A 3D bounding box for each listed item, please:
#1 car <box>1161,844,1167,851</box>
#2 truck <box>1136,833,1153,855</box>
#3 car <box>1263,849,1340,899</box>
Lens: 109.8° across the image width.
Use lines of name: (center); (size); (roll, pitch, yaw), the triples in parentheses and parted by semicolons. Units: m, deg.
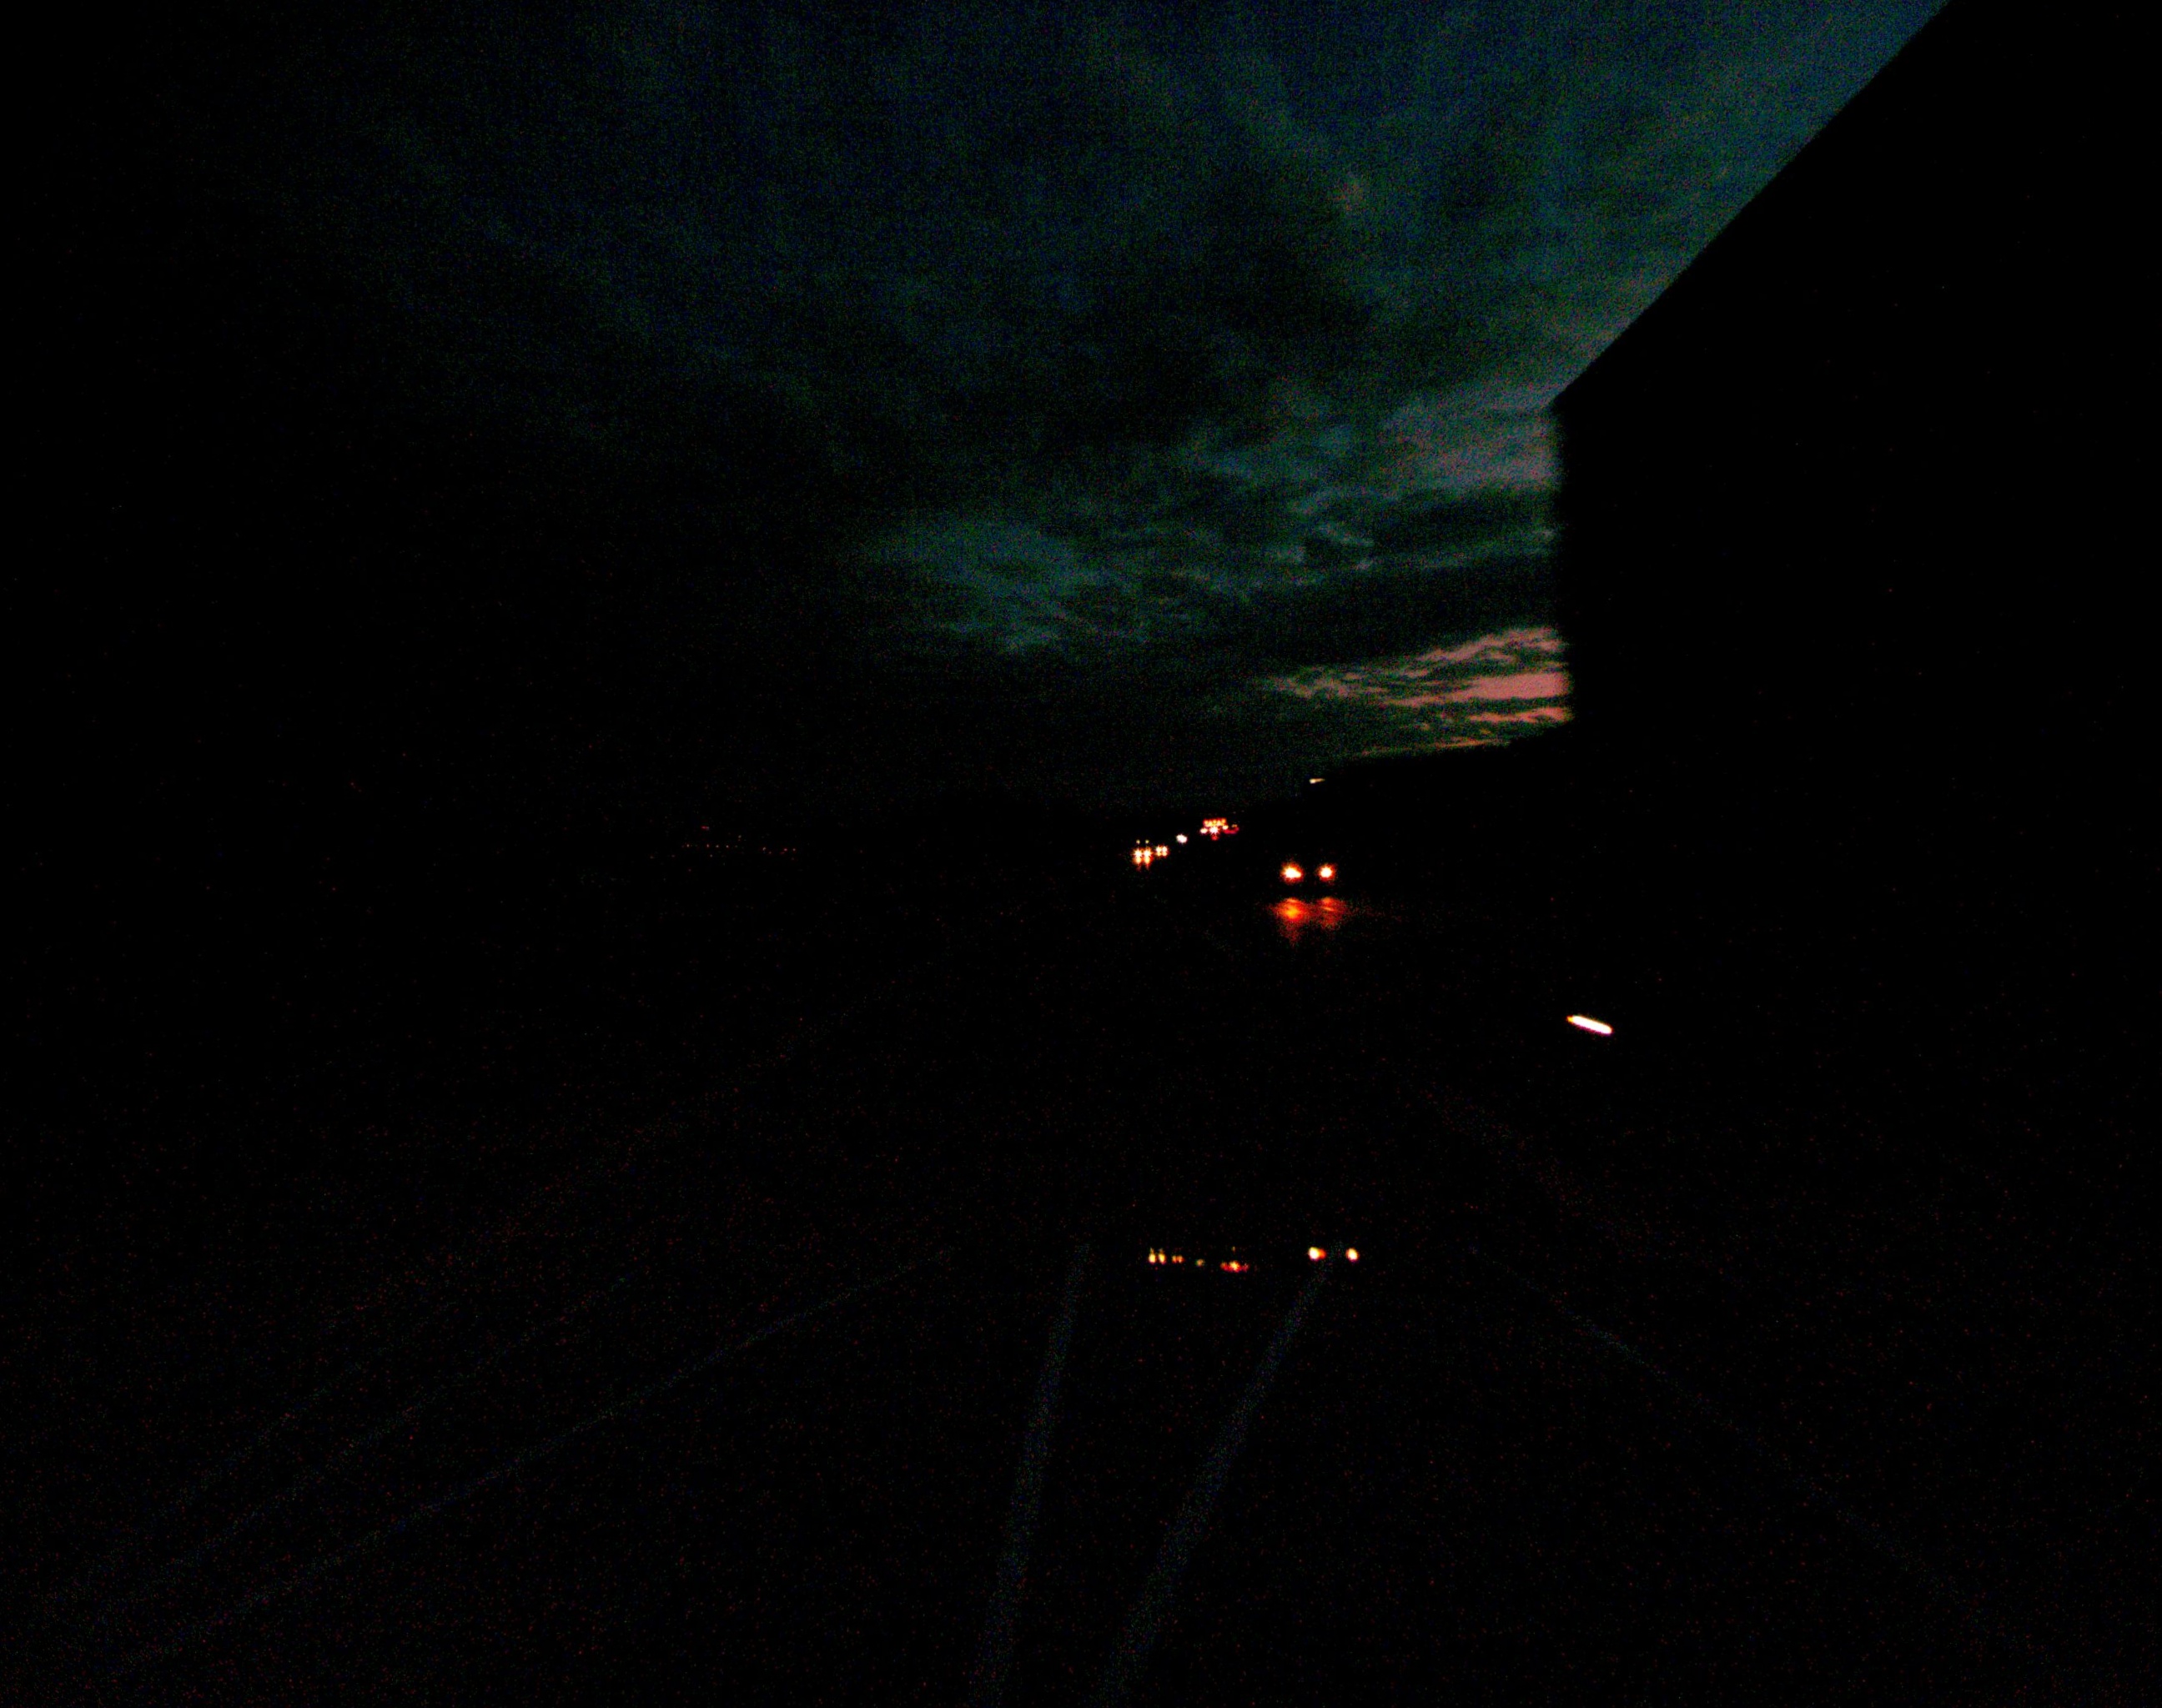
car: (22.921, -1.730, 210.462); (1.652, 1.655, 3.775); (-3, 3, 7)
truck: (14.105, -2.333, 168.291); (3.025, 4.374, 11.615); (-3, 3, 7)
car: (8.156, 0.679, 28.444); (1.717, 1.472, 3.998); (-3, 3, 1)
